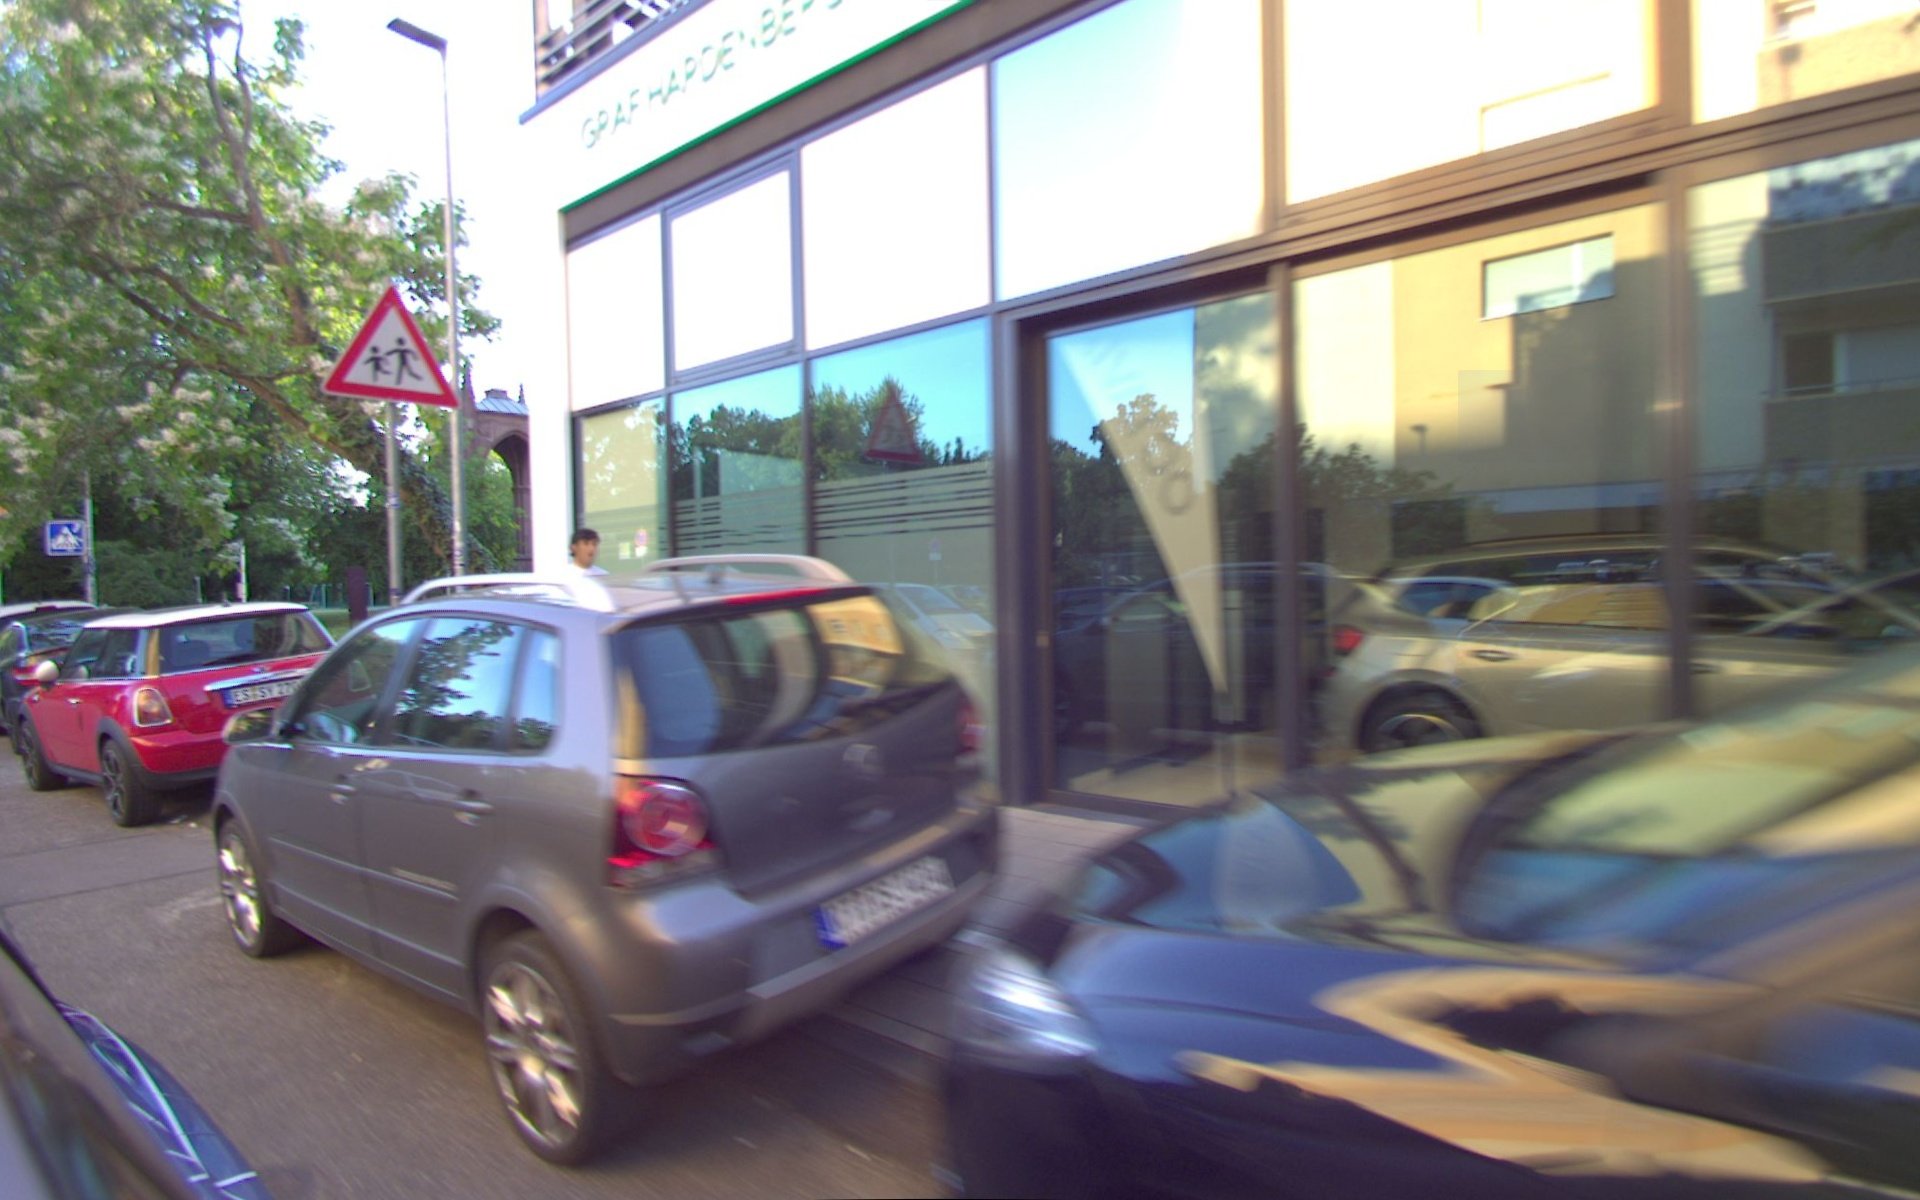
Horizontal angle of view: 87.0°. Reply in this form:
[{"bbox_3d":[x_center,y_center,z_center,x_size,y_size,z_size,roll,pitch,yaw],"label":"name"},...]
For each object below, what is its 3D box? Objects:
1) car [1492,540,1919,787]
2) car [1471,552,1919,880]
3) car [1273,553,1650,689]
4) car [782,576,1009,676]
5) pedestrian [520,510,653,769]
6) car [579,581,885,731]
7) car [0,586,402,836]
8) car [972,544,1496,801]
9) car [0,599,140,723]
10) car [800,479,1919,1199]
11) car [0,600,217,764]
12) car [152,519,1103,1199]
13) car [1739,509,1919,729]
[{"bbox_3d":[6.451,0.428,7.954,3.735,1.671,1.680,-2,0,40],"label":"car"},{"bbox_3d":[5.142,0.523,5.231,4.188,1.526,1.680,-2,0,40],"label":"car"},{"bbox_3d":[6.141,0.245,12.627,3.916,1.445,1.680,-2,0,40],"label":"car"},{"bbox_3d":[-1.211,0.436,17.908,3.916,1.573,1.680,-2,0,40],"label":"car"},{"bbox_3d":[-2.904,0.287,7.868,0.620,1.892,0.713,-2,0,41],"label":"pedestrian"},{"bbox_3d":[-2.862,0.605,12.265,3.873,1.534,1.577,-2,0,40],"label":"car"},{"bbox_3d":[-6.336,0.738,8.159,3.920,1.420,1.647,-2,5,37],"label":"car"},{"bbox_3d":[2.111,0.493,8.396,3.873,1.662,1.577,-2,0,40],"label":"car"},{"bbox_3d":[-13.879,0.857,14.928,3.874,1.525,1.648,-2,3,34],"label":"car"},{"bbox_3d":[1.885,0.547,1.031,4.002,1.412,1.713,-2,5,39],"label":"car"},{"bbox_3d":[-10.484,0.850,11.892,4.409,1.426,1.646,-1,5,39],"label":"car"},{"bbox_3d":[-1.578,0.614,3.949,3.882,1.508,1.645,-1,5,41],"label":"car"},{"bbox_3d":[9.107,0.130,8.555,3.916,1.830,1.680,-2,0,40],"label":"car"}]
